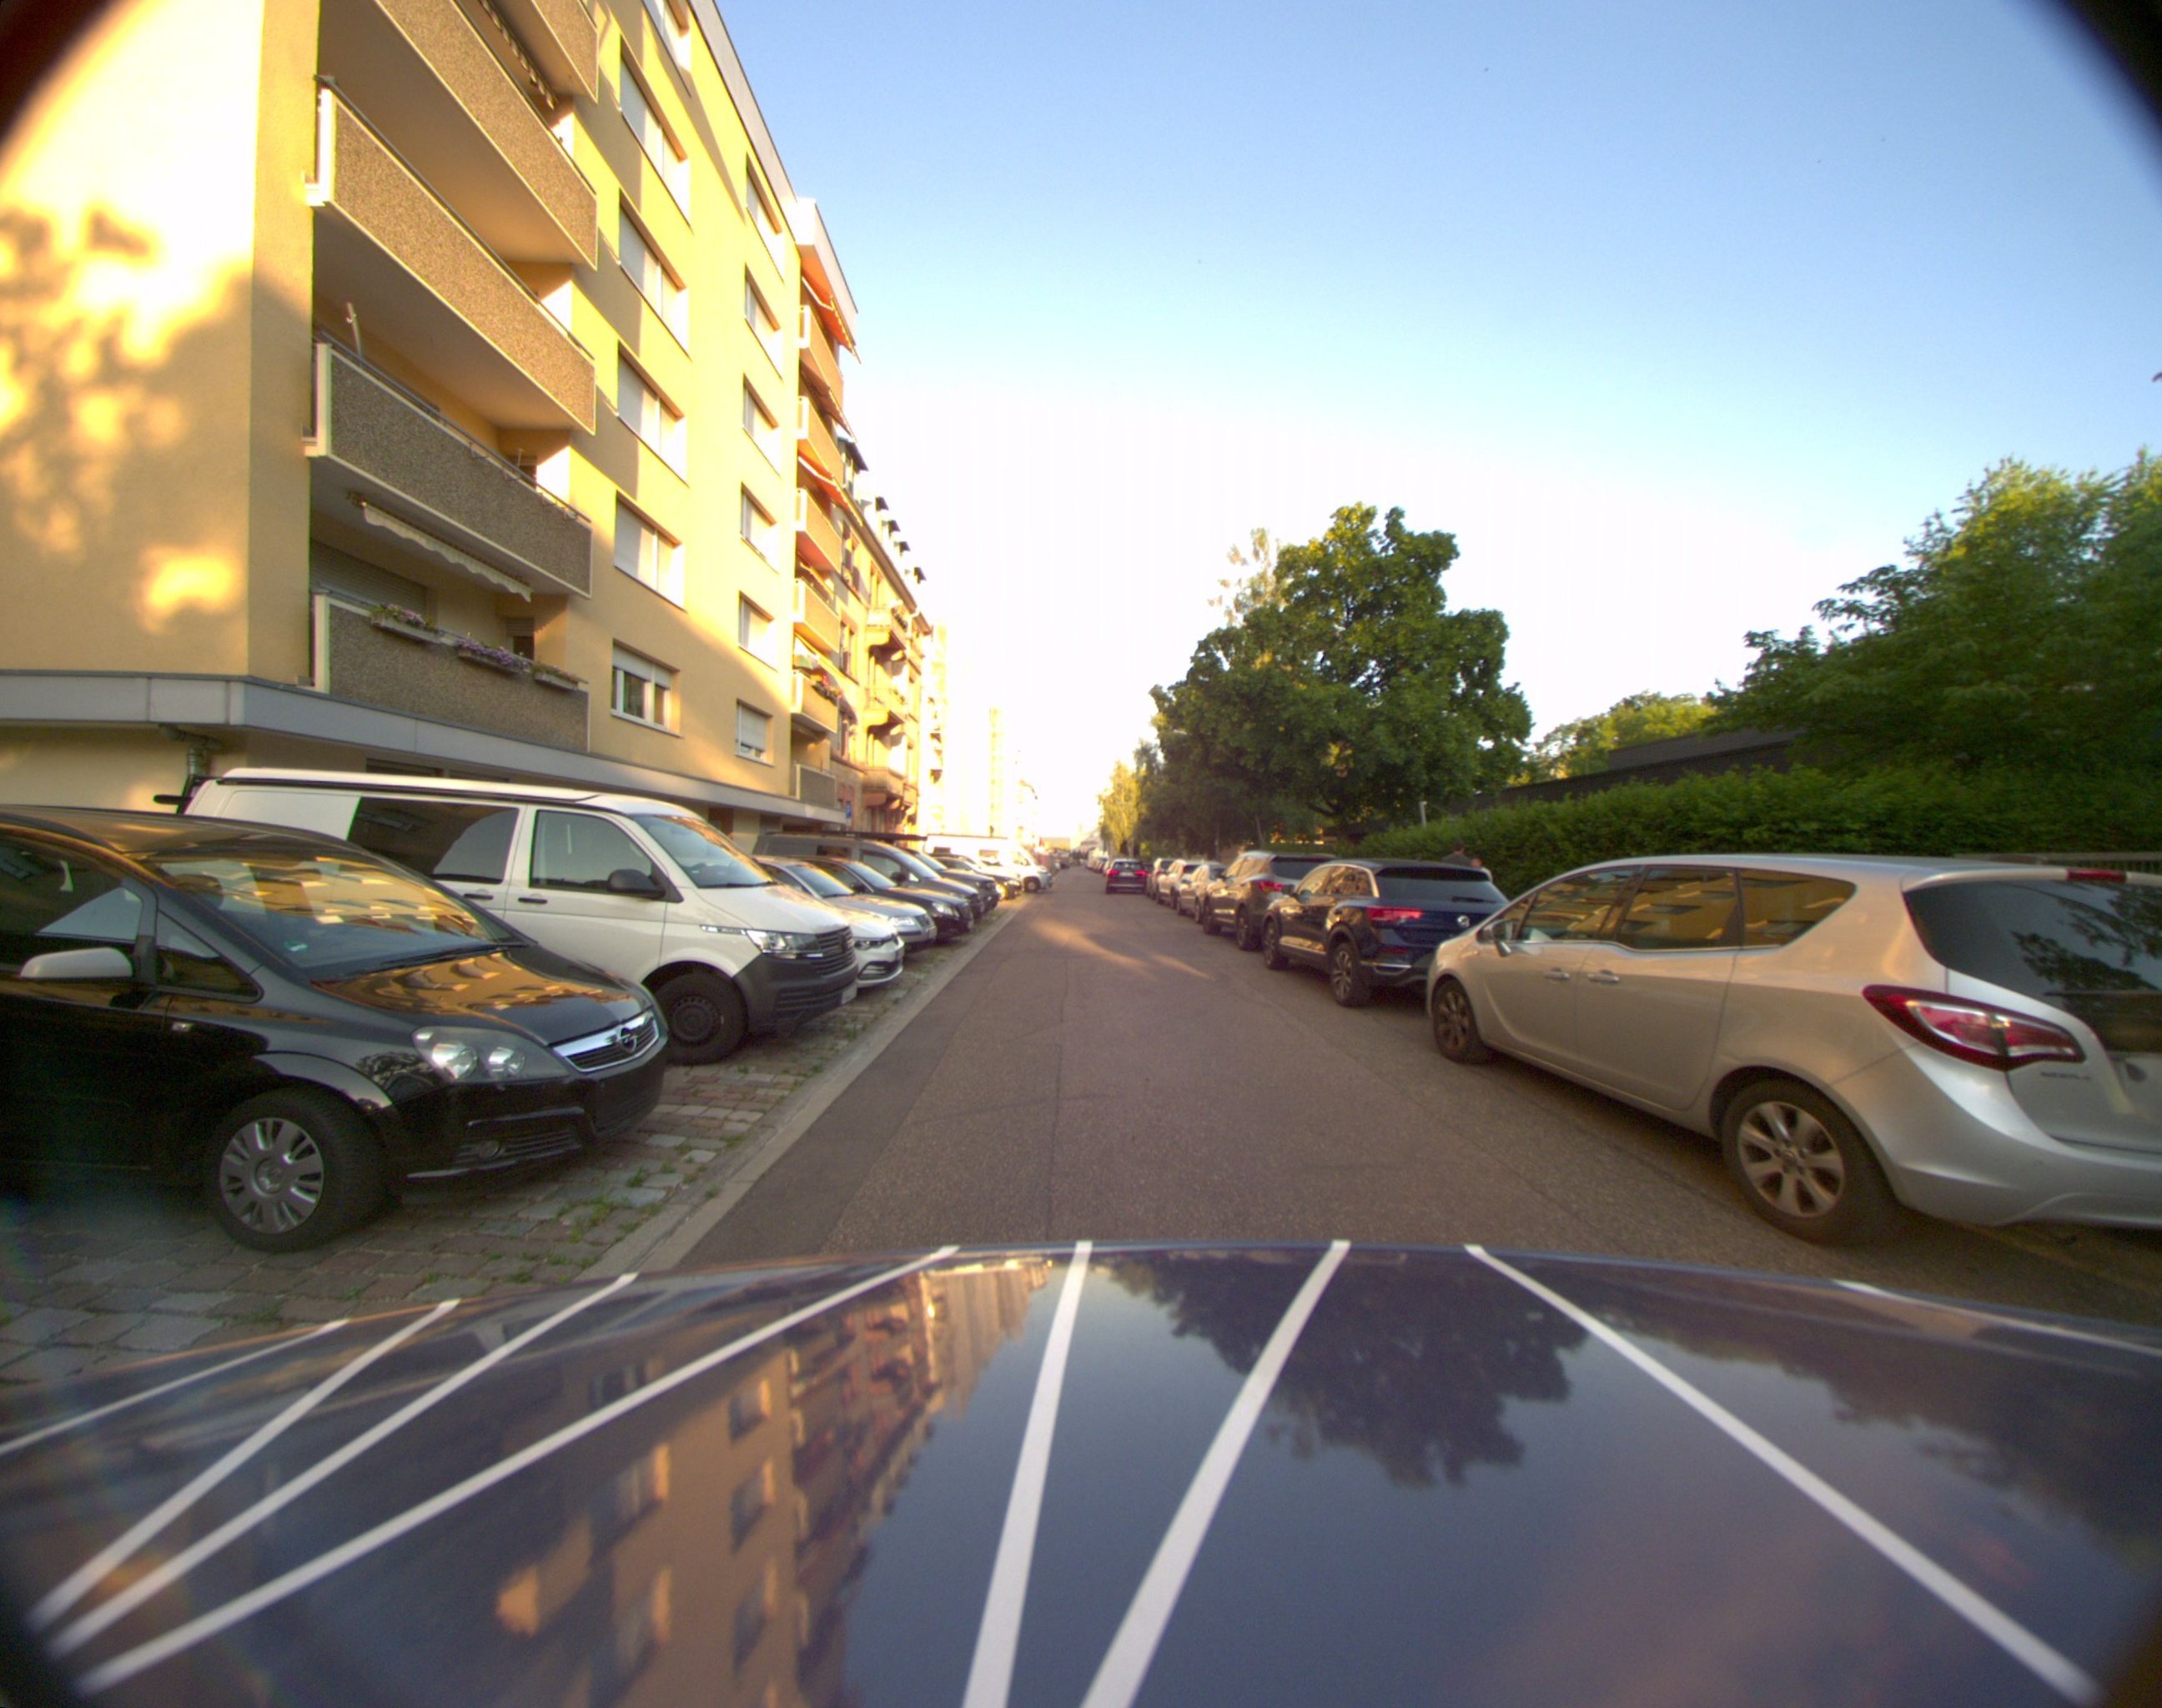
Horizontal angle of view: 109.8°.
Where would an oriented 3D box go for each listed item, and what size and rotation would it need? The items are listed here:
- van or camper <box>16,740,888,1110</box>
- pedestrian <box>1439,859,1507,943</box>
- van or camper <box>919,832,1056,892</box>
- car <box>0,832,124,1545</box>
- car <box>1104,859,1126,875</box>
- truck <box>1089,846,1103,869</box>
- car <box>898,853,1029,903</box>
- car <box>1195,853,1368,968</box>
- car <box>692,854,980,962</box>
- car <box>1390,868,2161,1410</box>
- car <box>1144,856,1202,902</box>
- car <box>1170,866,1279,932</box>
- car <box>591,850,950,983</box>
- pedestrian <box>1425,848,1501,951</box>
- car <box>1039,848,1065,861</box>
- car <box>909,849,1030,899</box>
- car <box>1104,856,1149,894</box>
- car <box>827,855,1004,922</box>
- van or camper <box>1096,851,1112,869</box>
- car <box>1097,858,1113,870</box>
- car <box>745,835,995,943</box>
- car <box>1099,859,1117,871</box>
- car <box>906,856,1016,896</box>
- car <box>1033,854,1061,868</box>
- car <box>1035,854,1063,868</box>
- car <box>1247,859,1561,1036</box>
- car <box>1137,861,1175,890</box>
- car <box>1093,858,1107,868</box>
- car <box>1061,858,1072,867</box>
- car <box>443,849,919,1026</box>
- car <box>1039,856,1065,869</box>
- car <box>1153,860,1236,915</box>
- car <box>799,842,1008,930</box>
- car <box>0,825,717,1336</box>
[{"bbox_3d":[-4.446,0.500,6.141,5.147,2.155,2.039,4,1,-2],"label":"van or camper"},{"bbox_3d":[7.367,0.861,14.330,0.750,1.499,0.901,-2,0,-2],"label":"pedestrian"},{"bbox_3d":[-4.273,0.377,35.543,6.075,2.489,2.050,2,0,0],"label":"van or camper"},{"bbox_3d":[-4.651,0.688,0.942,4.416,1.652,1.844,3,2,-3],"label":"car"},{"bbox_3d":[3.178,1.199,72.106,1.738,1.358,4.291,2,0,-1],"label":"car"},{"bbox_3d":[2.532,0.553,128.851,2.183,3.860,4.926,0,0,0],"label":"truck"},{"bbox_3d":[-4.177,0.836,27.588,4.414,1.545,1.845,2,2,0],"label":"car"},{"bbox_3d":[3.422,0.879,13.871,1.738,1.720,4.322,2,0,-3],"label":"car"},{"bbox_3d":[-4.105,0.886,13.282,4.415,1.554,1.845,2,2,-1],"label":"car"},{"bbox_3d":[3.602,0.919,4.377,1.738,1.558,4.128,2,0,-3],"label":"car"},{"bbox_3d":[3.515,0.941,29.726,1.738,1.621,3.980,2,0,0],"label":"car"},{"bbox_3d":[3.533,1.059,19.521,1.738,1.418,4.286,2,0,-3],"label":"car"},{"bbox_3d":[-4.284,0.828,11.011,4.415,1.584,1.845,2,2,-1],"label":"car"},{"bbox_3d":[6.698,0.775,13.356,0.901,1.722,0.750,-2,0,-2],"label":"pedestrian"},{"bbox_3d":[-4.619,0.114,121.405,3.997,2.002,2.000,0,0,-1],"label":"car"},{"bbox_3d":[-4.372,0.760,30.157,4.413,1.739,1.845,2,2,3],"label":"car"},{"bbox_3d":[2.036,0.919,34.963,1.738,1.621,4.125,2,0,-1],"label":"car"},{"bbox_3d":[-4.453,0.907,20.882,4.414,1.545,1.845,2,2,2],"label":"car"},{"bbox_3d":[3.058,0.791,101.705,1.825,2.400,4.291,2,0,-1],"label":"van or camper"},{"bbox_3d":[3.047,1.267,96.008,1.738,1.502,4.291,2,0,-1],"label":"car"},{"bbox_3d":[-4.247,0.666,15.843,4.649,1.970,1.845,2,2,-1],"label":"car"},{"bbox_3d":[3.181,1.262,90.342,1.738,1.358,4.291,2,0,-1],"label":"car"},{"bbox_3d":[-5.087,0.905,32.685,4.414,1.610,1.845,0,2,1],"label":"car"},{"bbox_3d":[-4.875,0.956,109.747,3.997,2.002,2.000,0,0,-1],"label":"car"},{"bbox_3d":[-4.495,0.957,107.203,3.997,2.002,2.000,0,0,-1],"label":"car"},{"bbox_3d":[3.421,0.877,9.034,1.738,1.558,4.166,2,0,-3],"label":"car"},{"bbox_3d":[3.999,1.133,40.915,1.624,1.417,3.415,2,0,0],"label":"car"},{"bbox_3d":[2.725,1.294,110.910,1.738,1.502,4.291,2,0,-1],"label":"car"},{"bbox_3d":[-2.512,1.407,129.923,1.738,1.502,4.291,2,0,-1],"label":"car"},{"bbox_3d":[-4.266,0.851,8.650,4.415,1.622,1.845,2,2,-1],"label":"car"},{"bbox_3d":[-4.498,1.286,118.260,3.997,2.002,2.000,0,0,-1],"label":"car"},{"bbox_3d":[3.523,0.994,24.415,1.764,1.534,4.279,2,0,-3],"label":"car"},{"bbox_3d":[-4.125,0.722,18.215,4.524,1.852,1.845,2,0,-1],"label":"car"},{"bbox_3d":[-4.326,0.790,3.534,4.338,1.652,1.780,3,2,-3],"label":"car"}]
